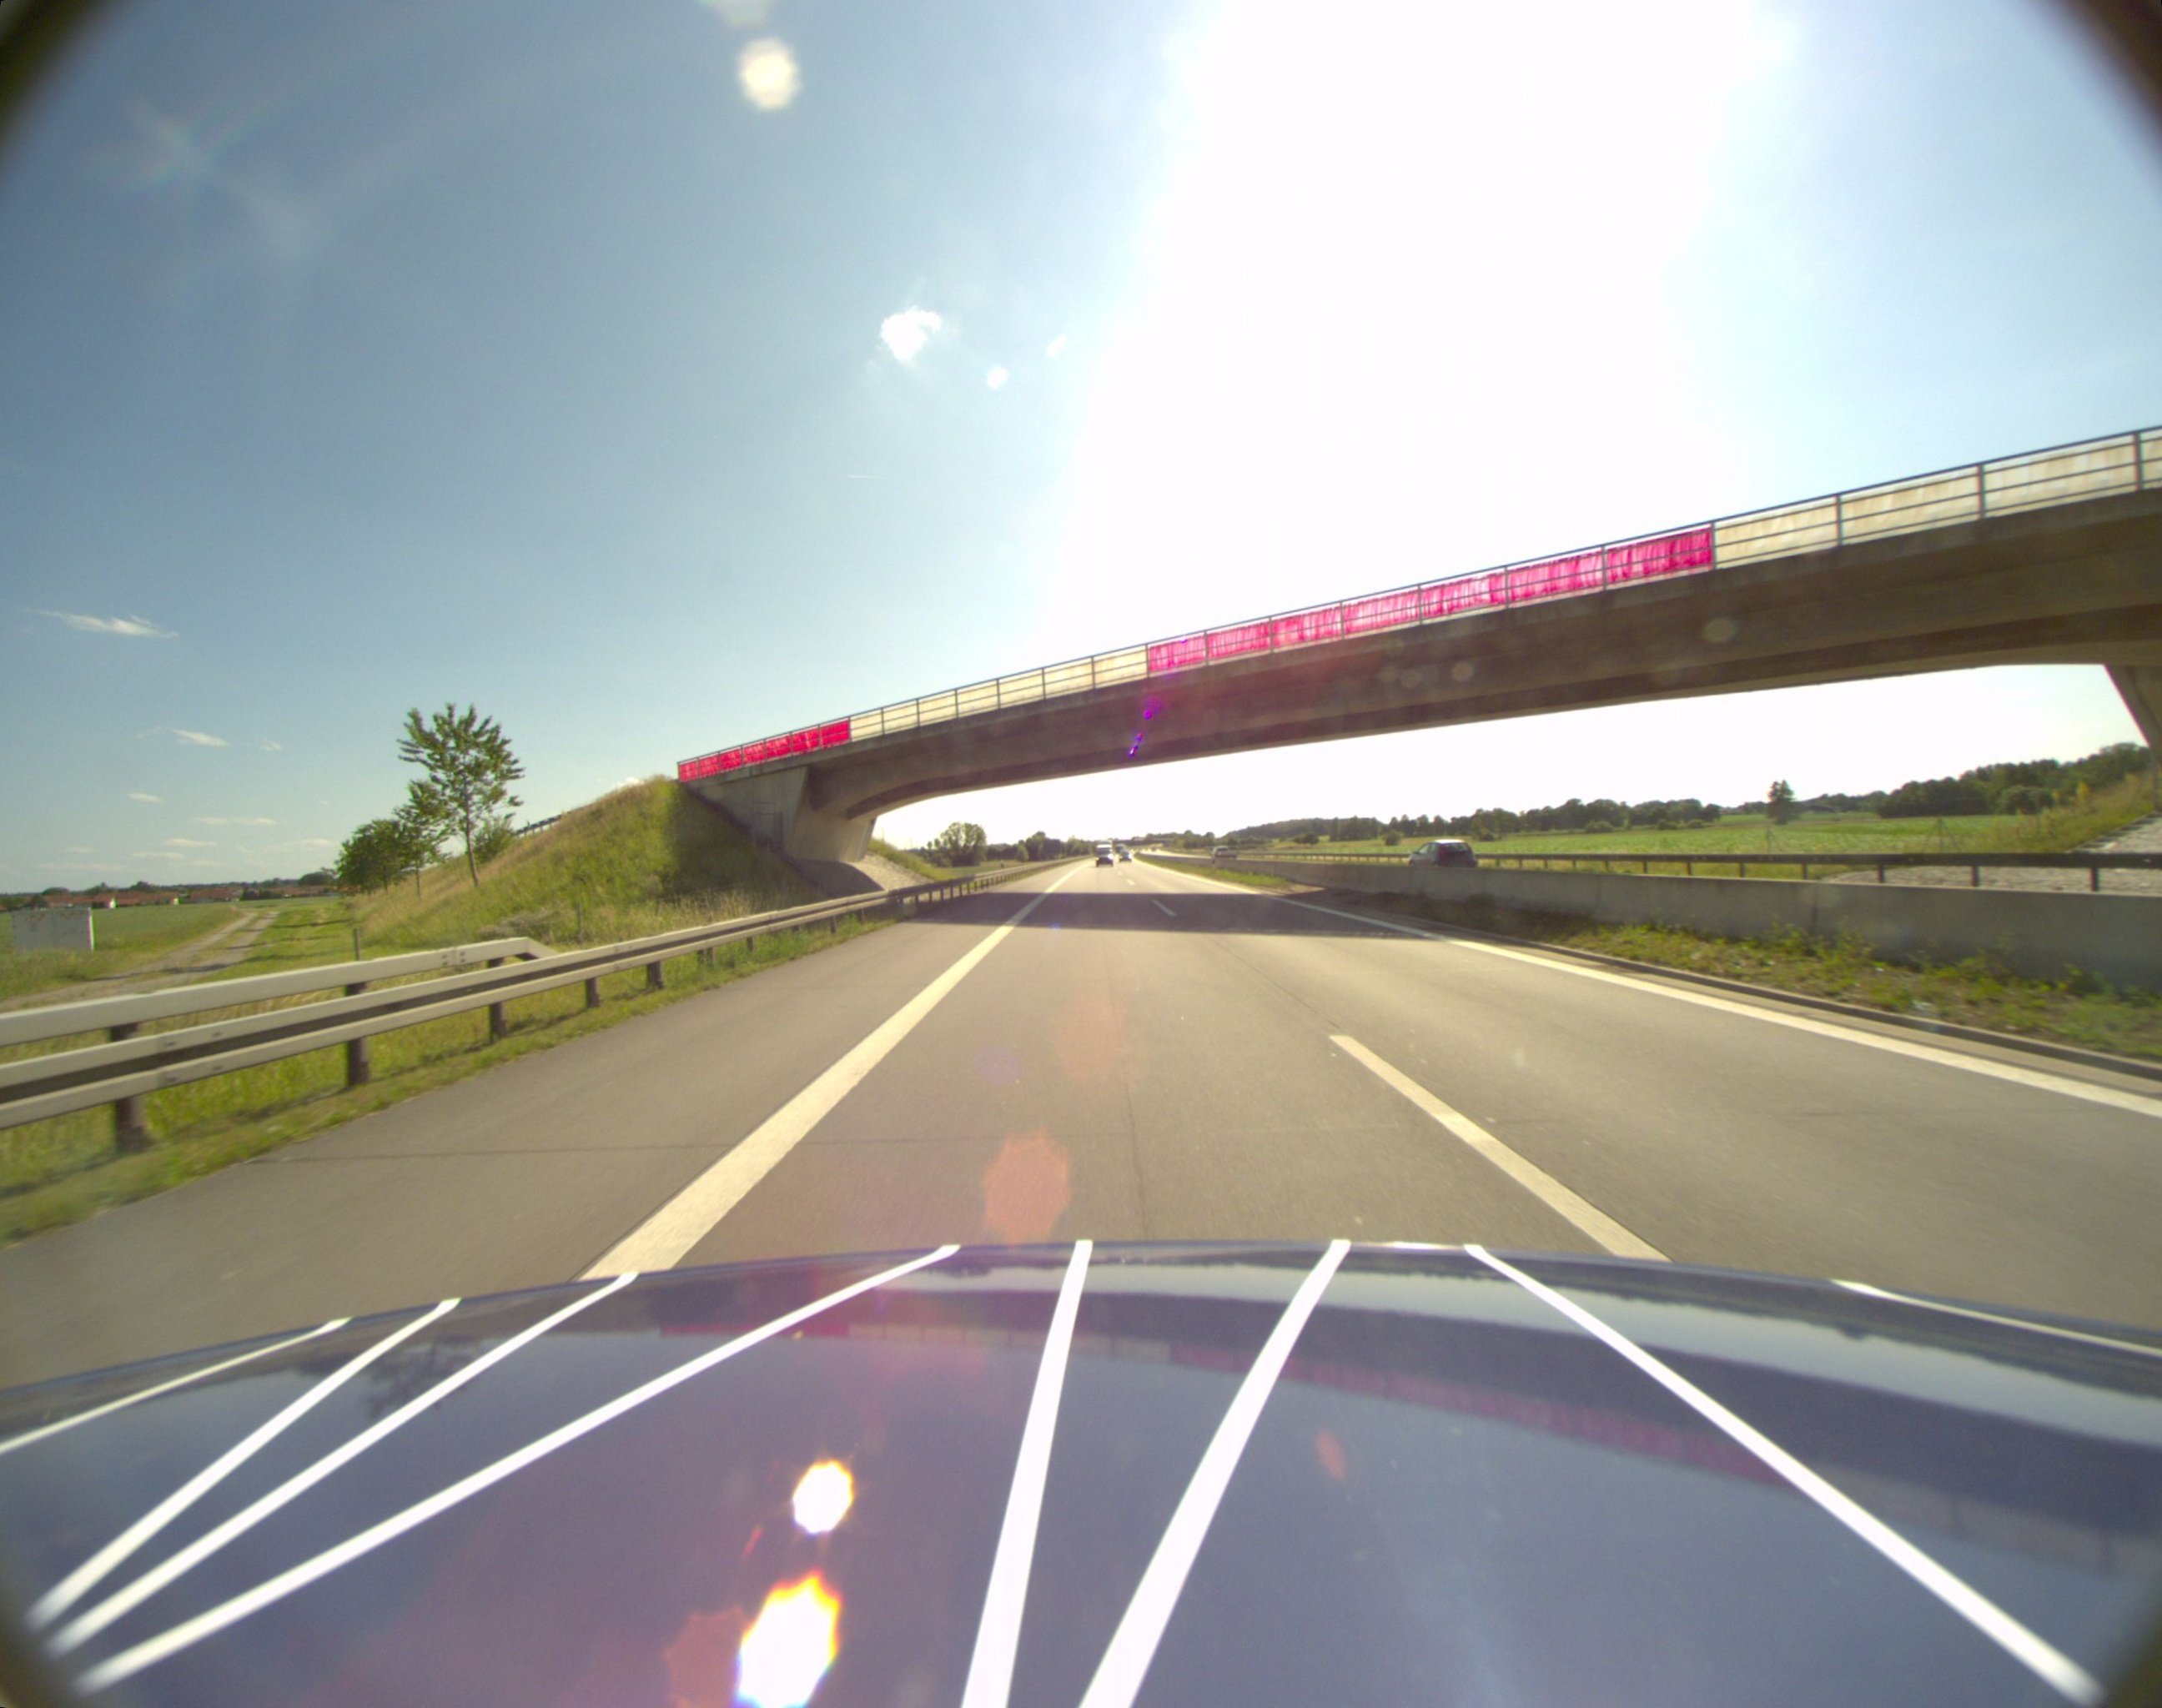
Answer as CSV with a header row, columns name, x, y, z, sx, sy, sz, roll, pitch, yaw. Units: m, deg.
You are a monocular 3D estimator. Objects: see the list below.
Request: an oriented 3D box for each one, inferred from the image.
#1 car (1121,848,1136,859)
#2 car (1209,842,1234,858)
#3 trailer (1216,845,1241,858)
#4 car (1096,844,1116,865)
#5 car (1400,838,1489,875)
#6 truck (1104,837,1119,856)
name,x,y,z,sx,sy,sz,roll,pitch,yaw
car,6.811,-0.081,109.951,2.030,1.600,4.819,-1,0,2
car,16.734,-0.494,90.734,1.998,1.721,5.587,-3,0,1
trailer,16.669,-0.275,85.785,1.998,1.250,4.262,-3,0,1
car,2.801,0.008,84.451,2.030,2.225,4.818,-2,0,2
car,15.759,0.099,33.207,1.859,1.452,4.195,-2,0,0
truck,6.215,-1.539,155.929,2.762,3.792,7.518,-3,1,3
